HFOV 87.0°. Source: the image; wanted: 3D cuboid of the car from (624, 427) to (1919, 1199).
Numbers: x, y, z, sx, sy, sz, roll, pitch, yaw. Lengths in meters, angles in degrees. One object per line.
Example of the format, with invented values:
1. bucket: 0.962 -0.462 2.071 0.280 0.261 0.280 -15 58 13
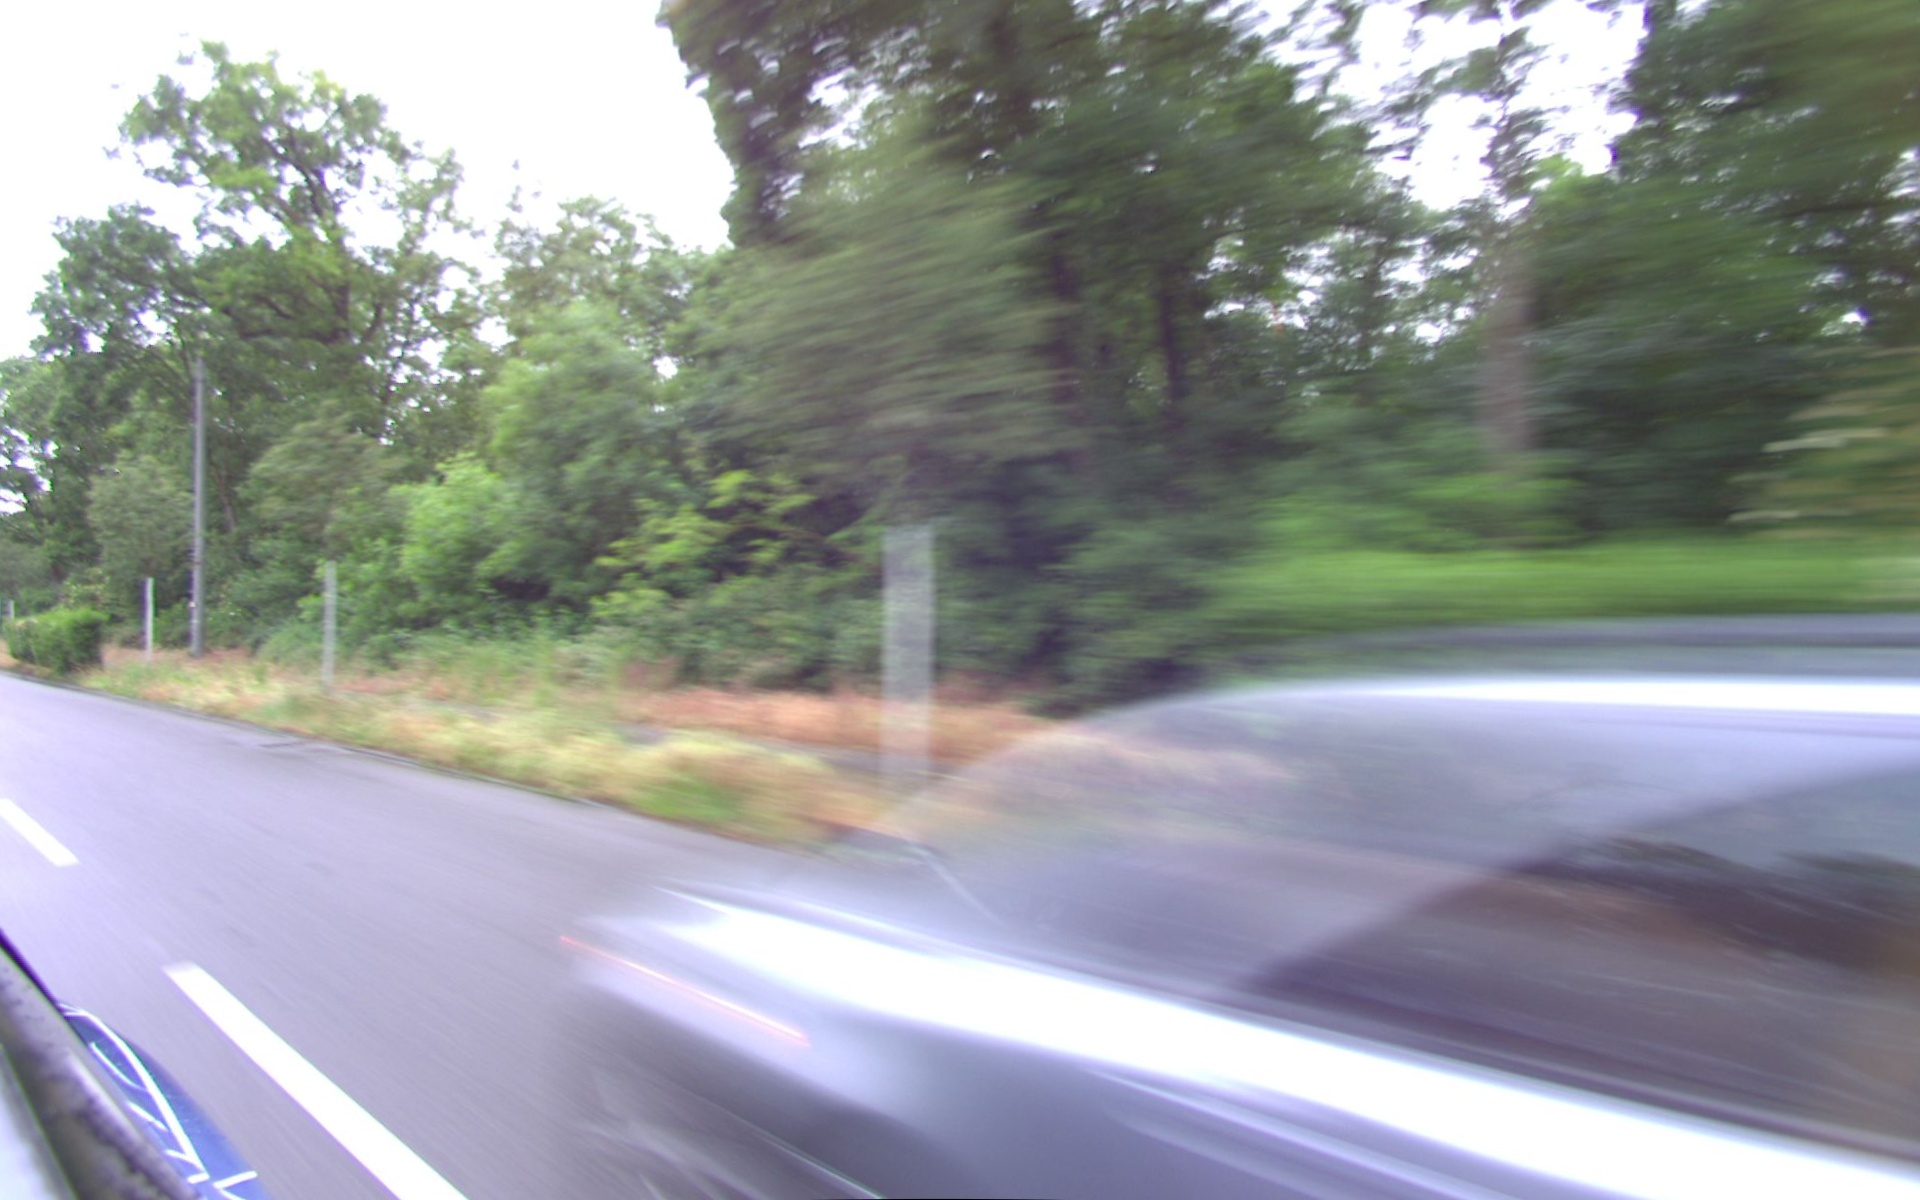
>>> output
1. car: 1.413 0.626 1.390 3.965 1.490 1.765 0 -1 41
